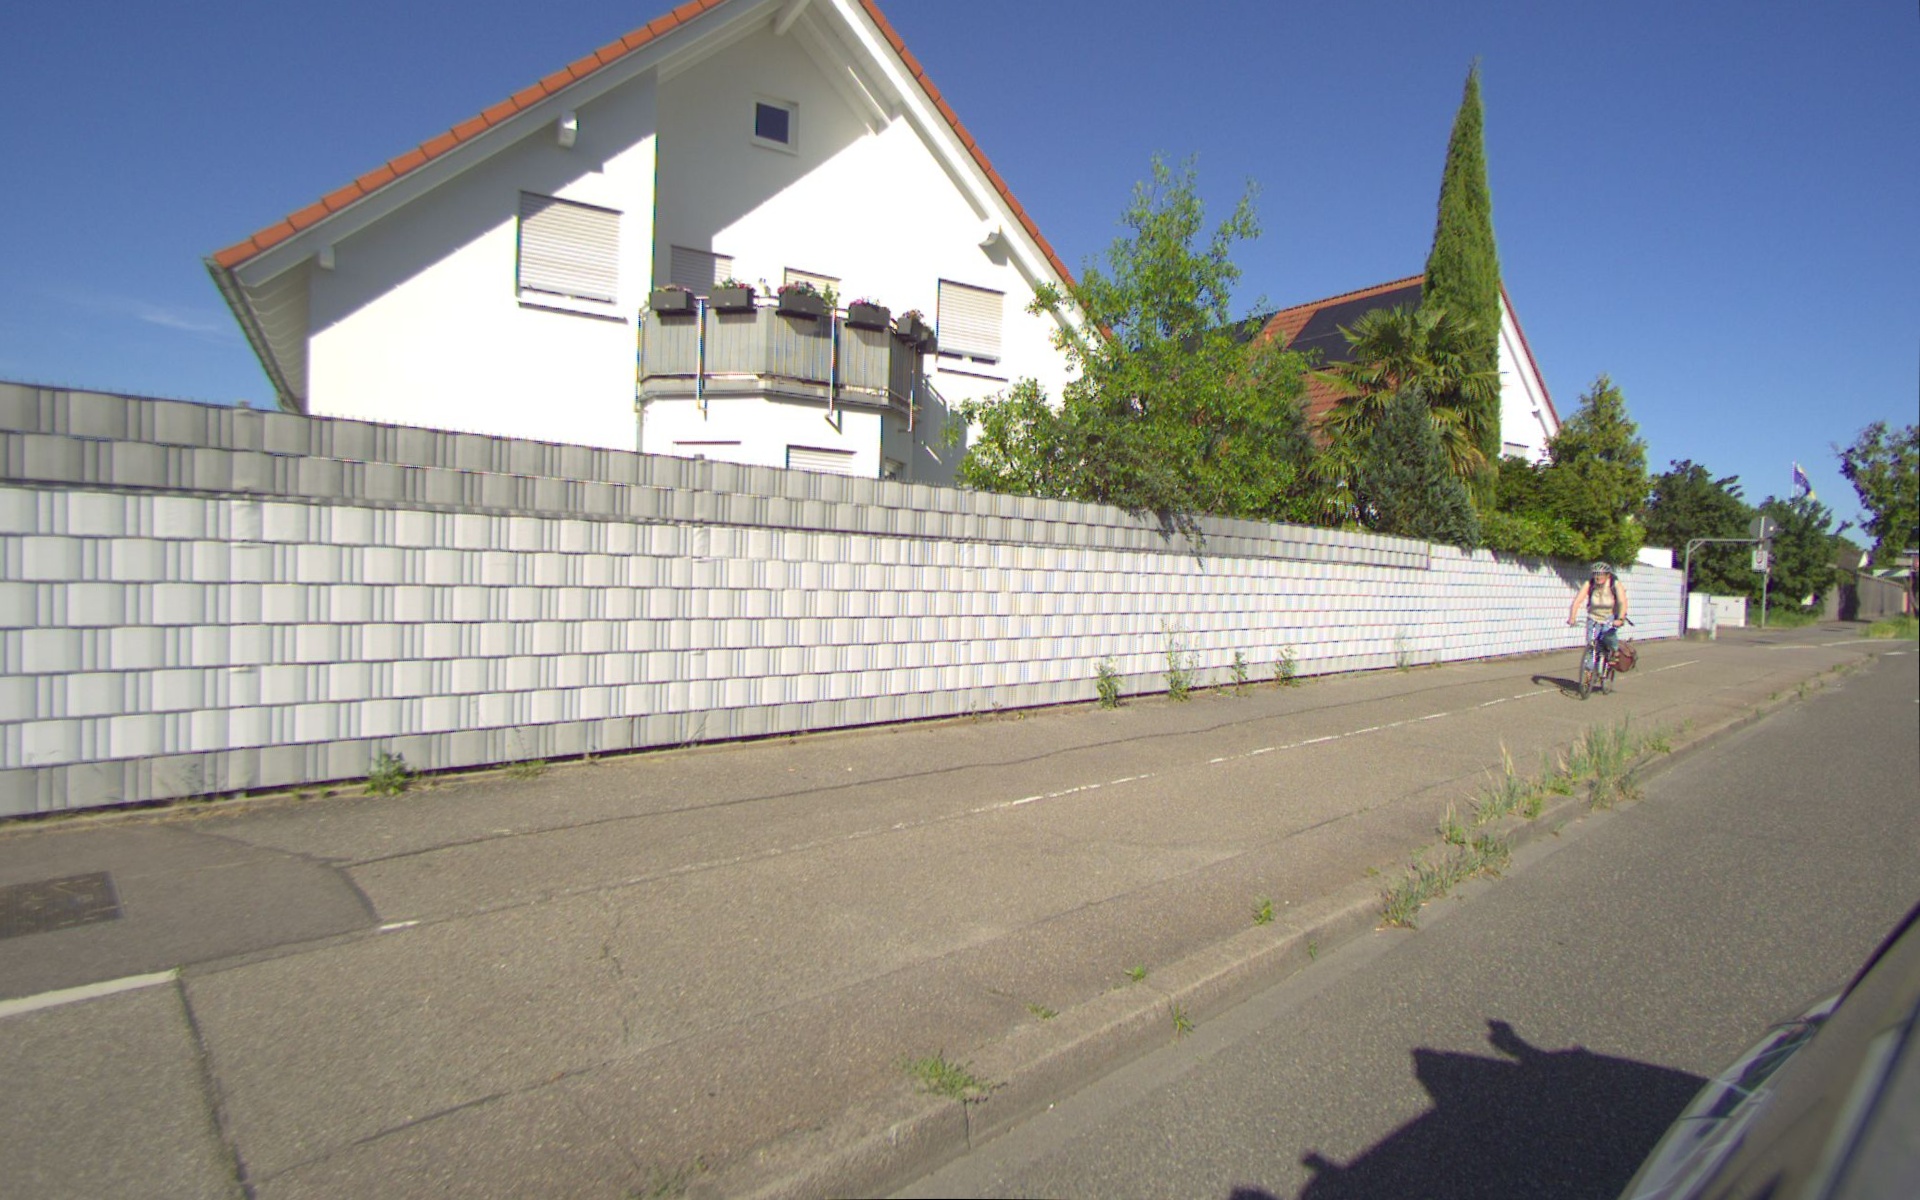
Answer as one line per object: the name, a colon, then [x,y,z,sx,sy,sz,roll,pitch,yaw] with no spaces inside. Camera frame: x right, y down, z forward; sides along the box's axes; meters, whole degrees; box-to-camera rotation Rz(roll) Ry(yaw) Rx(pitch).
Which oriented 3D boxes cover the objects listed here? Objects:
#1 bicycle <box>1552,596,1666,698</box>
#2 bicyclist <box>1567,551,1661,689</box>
bicycle: [8.322,0.574,12.938,2.103,1.168,0.575,1,4,-41]
bicyclist: [8.333,0.237,12.896,0.964,1.652,0.631,1,4,-41]
